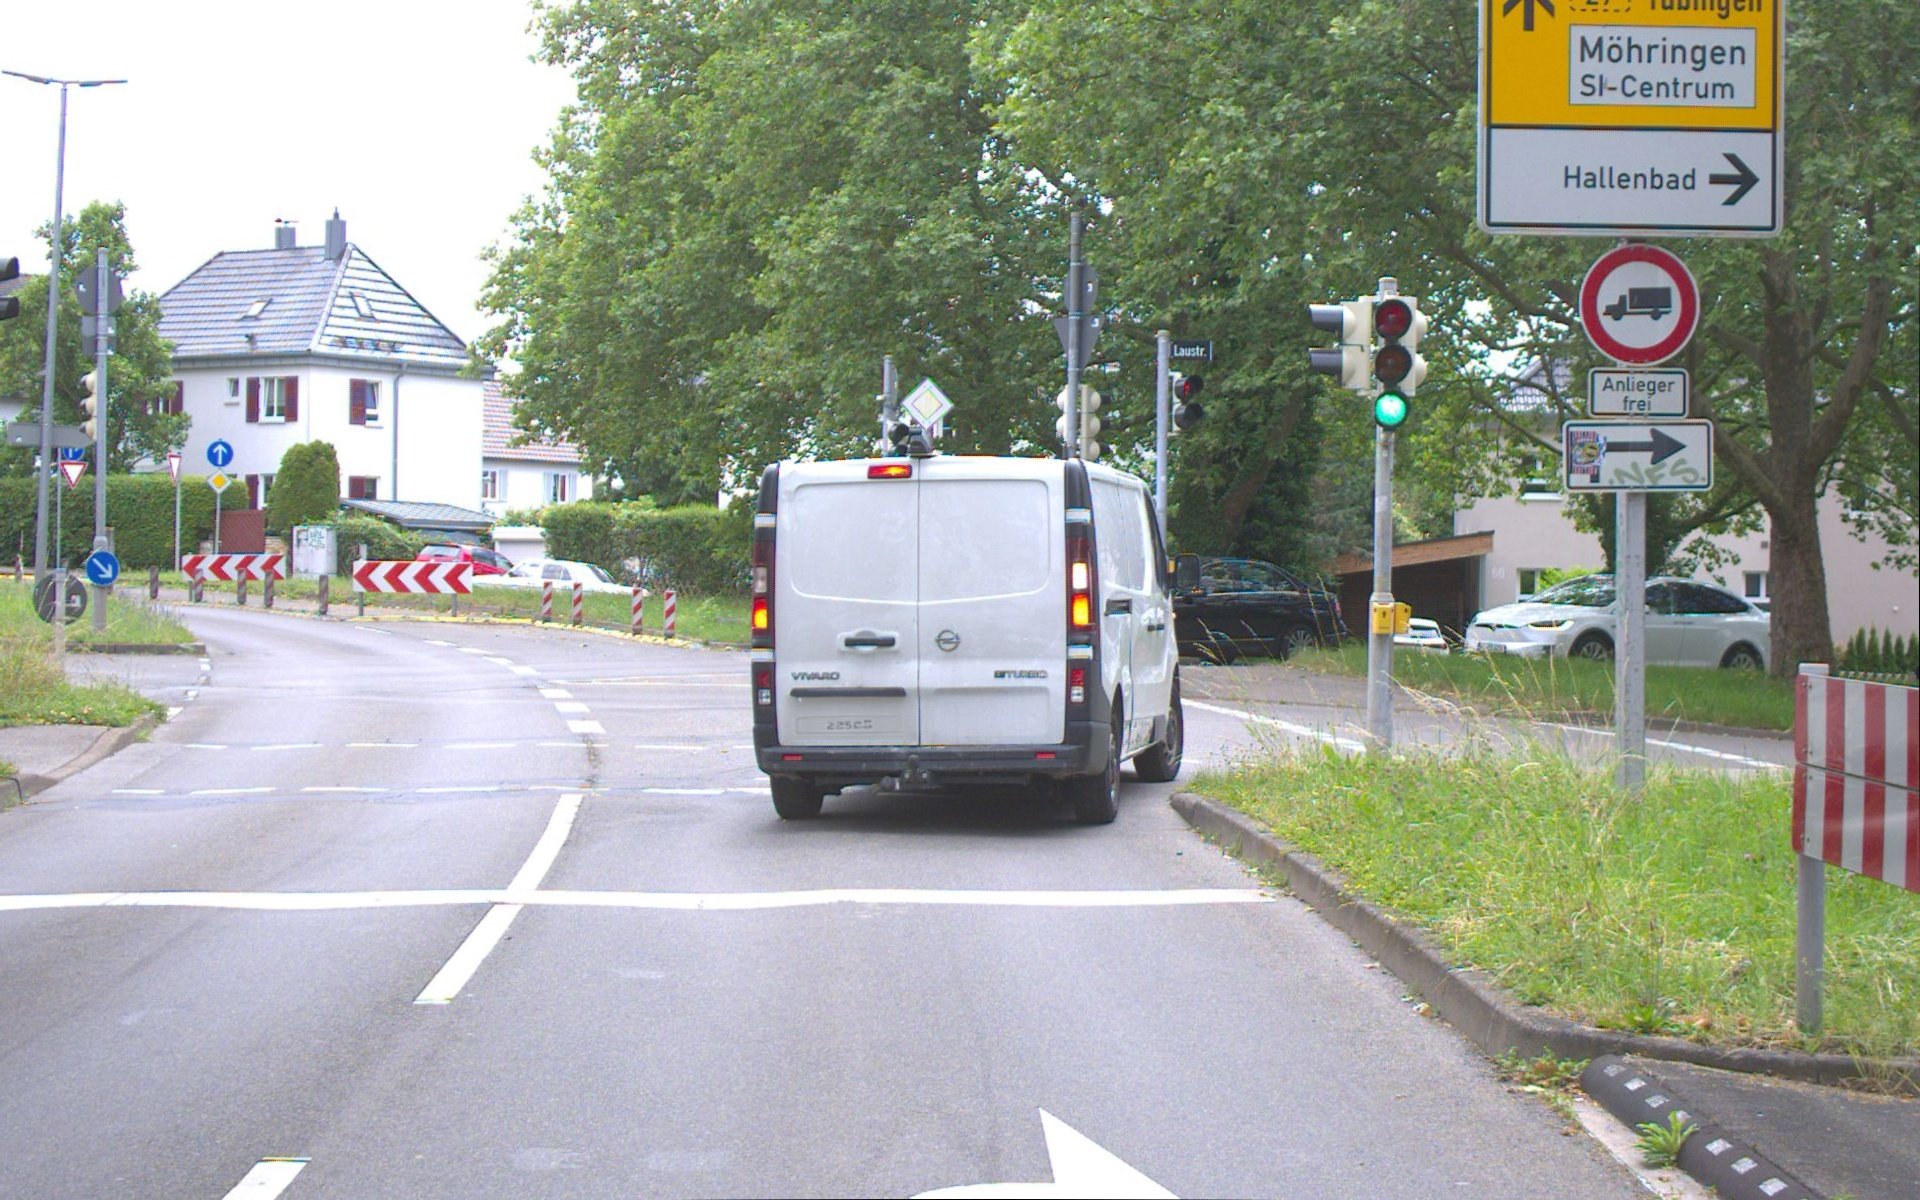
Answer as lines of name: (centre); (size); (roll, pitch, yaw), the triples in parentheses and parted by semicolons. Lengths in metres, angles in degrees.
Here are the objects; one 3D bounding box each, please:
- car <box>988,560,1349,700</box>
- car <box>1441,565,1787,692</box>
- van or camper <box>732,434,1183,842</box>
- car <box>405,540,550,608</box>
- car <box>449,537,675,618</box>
car: (2.676, 0.390, 43.657); (4.373, 1.512, 1.762); (4, -1, -36)
car: (9.177, 0.406, 48.073); (4.891, 1.652, 1.857); (1, 1, -36)
van or camper: (0.134, 0.158, 19.779); (1.925, 2.007, 4.828); (2, 1, 8)
car: (-12.583, -0.668, 89.779); (1.607, 1.512, 3.817); (3, -1, 31)
car: (-9.512, -0.539, 82.145); (4.873, 1.785, 2.214); (2, 1, 23)
